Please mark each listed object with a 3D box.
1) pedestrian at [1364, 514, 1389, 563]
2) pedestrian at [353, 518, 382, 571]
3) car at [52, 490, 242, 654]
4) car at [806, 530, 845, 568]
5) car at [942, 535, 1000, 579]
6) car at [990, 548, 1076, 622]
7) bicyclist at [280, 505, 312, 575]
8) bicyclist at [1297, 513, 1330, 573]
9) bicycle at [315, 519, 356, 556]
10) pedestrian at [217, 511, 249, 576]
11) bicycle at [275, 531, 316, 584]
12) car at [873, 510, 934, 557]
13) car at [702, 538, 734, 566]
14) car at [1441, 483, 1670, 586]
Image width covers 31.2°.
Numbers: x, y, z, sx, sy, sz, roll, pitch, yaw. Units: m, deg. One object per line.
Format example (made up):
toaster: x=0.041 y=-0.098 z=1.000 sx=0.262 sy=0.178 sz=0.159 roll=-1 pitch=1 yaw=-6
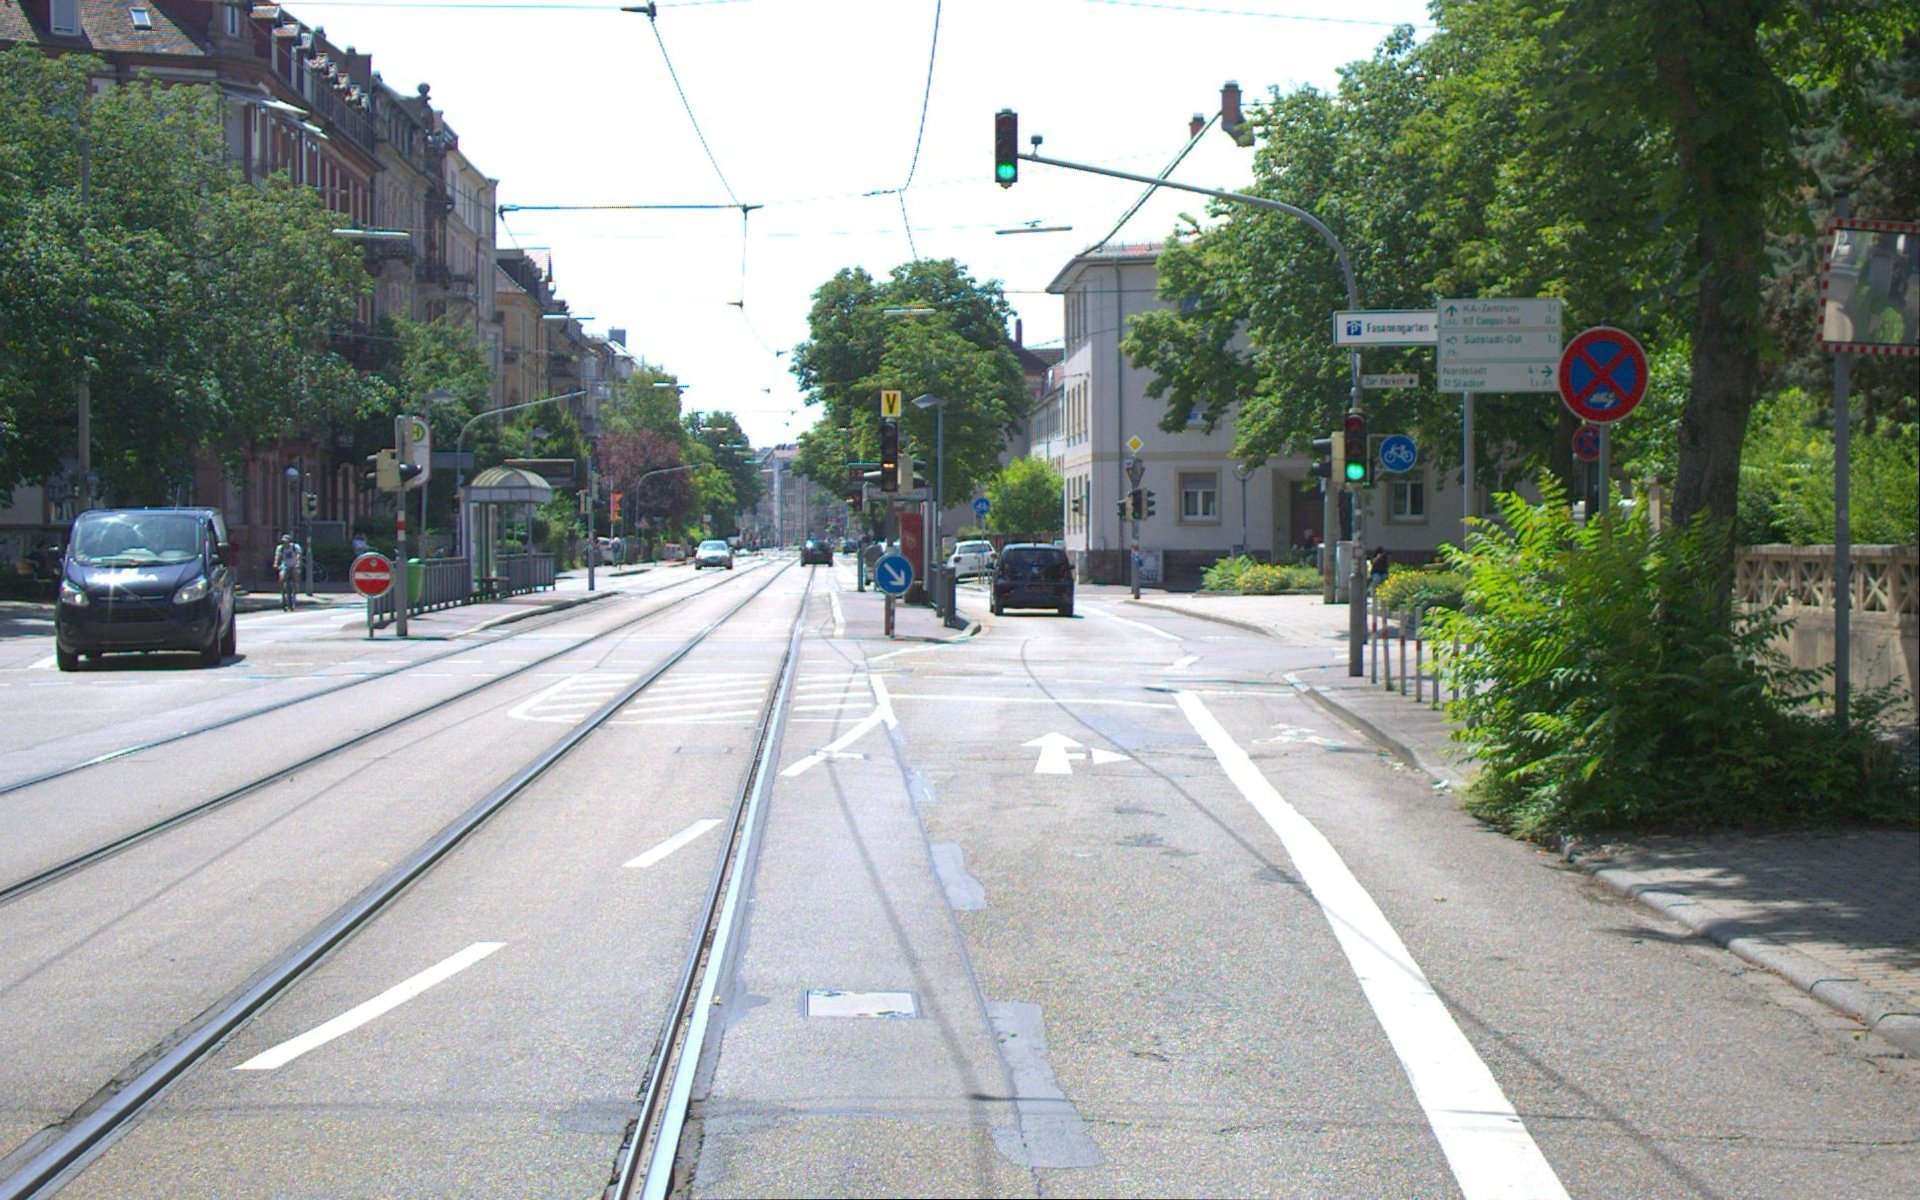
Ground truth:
pedestrian: x=9.471 y=-1.399 z=78.168 sx=0.509 sy=1.088 sz=0.478 roll=-1 pitch=2 yaw=3
pedestrian: x=-18.399 y=-1.727 z=106.734 sx=0.652 sy=1.609 sz=0.469 roll=0 pitch=4 yaw=-45
car: x=-10.280 y=-0.368 z=43.767 sx=1.843 sy=1.931 sz=4.824 roll=-1 pitch=1 yaw=-8
car: x=-7.443 y=-2.811 z=189.991 sx=2.047 sy=2.007 sz=4.607 roll=1 pitch=1 yaw=-3
car: x=0.379 y=-1.527 z=122.275 sx=1.747 sy=1.467 sz=3.939 roll=-3 pitch=1 yaw=-3
car: x=1.485 y=-0.325 z=70.527 sx=1.524 sy=1.439 sz=3.365 roll=-1 pitch=1 yaw=-2
bicyclist: x=-15.024 y=-1.346 z=77.740 sx=0.608 sy=1.569 sz=0.585 roll=1 pitch=1 yaw=-3
bicyclist: x=9.841 y=-1.583 z=95.719 sx=0.695 sy=1.640 sz=0.579 roll=1 pitch=1 yaw=31
bicycle: x=-19.817 y=-1.973 z=109.055 sx=0.364 sy=1.165 sz=1.517 roll=3 pitch=2 yaw=29
pedestrian: x=-18.163 y=-1.416 z=85.931 sx=0.679 sy=1.600 sz=0.773 roll=1 pitch=1 yaw=-6
bicycle: x=-15.022 y=-0.961 z=77.705 sx=0.628 sy=1.153 sz=1.978 roll=1 pitch=1 yaw=-3
car: x=-1.836 y=-2.128 z=110.978 sx=1.524 sy=1.451 sz=3.365 roll=-1 pitch=1 yaw=-8
car: x=-12.122 y=-2.407 z=172.178 sx=1.540 sy=1.334 sz=3.720 roll=1 pitch=1 yaw=-4
car: x=15.315 y=-1.700 z=88.675 sx=1.994 sy=2.581 sz=5.848 roll=-2 pitch=2 yaw=-42
